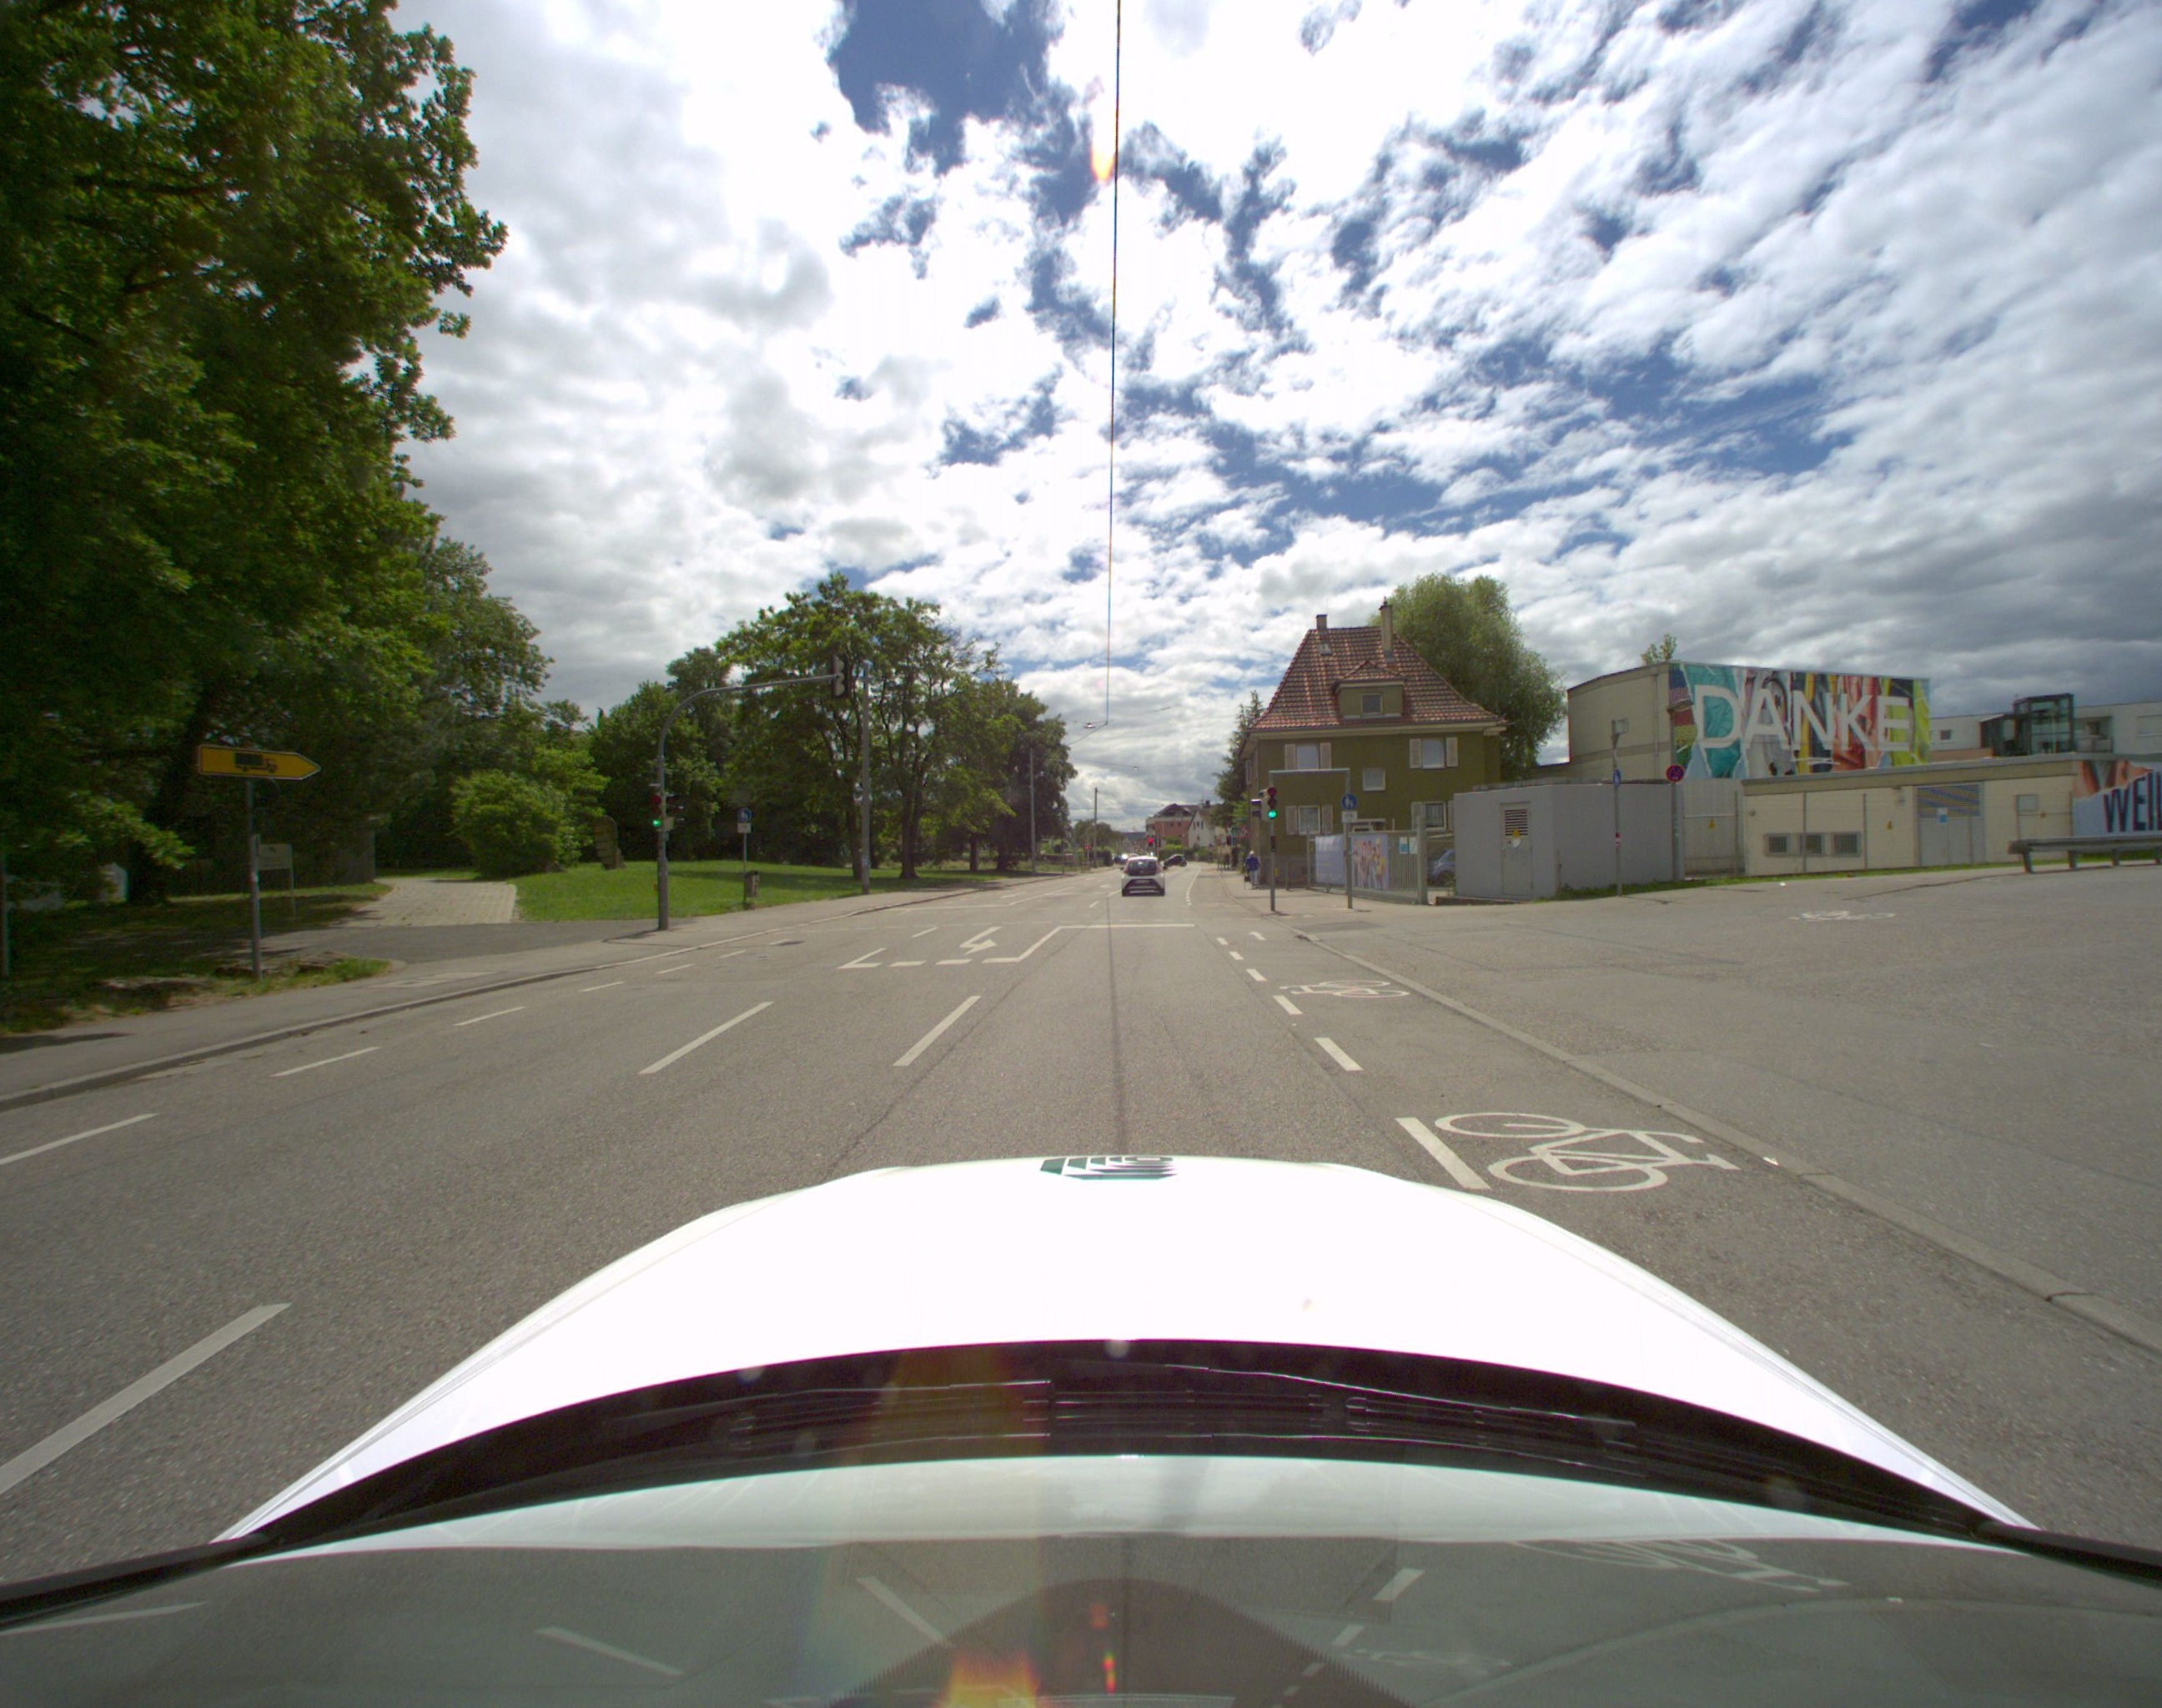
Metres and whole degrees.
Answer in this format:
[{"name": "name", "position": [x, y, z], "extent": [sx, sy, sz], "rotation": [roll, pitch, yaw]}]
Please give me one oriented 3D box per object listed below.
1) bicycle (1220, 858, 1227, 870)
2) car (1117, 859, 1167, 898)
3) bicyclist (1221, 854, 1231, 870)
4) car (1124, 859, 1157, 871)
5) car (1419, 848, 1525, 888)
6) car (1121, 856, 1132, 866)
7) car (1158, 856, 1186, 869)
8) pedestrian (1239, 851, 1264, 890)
[{"name": "bicycle", "position": [14.900, 1.076, 85.120], "extent": [0.455, 1.172, 1.481], "rotation": [-4, 1, 3]}, {"name": "car", "position": [2.444, 0.918, 31.781], "extent": [1.711, 1.442, 3.716], "rotation": [0, -1, 7]}, {"name": "bicyclist", "position": [15.139, 0.864, 85.053], "extent": [0.837, 1.553, 0.757], "rotation": [-4, 1, 3]}, {"name": "car", "position": [6.940, 1.257, 94.569], "extent": [1.886, 1.441, 4.125], "rotation": [-1, -1, 37]}, {"name": "car", "position": [15.678, 0.541, 32.746], "extent": [3.490, 1.494, 1.660], "rotation": [-1, 1, 2]}, {"name": "car", "position": [8.203, 1.212, 146.088], "extent": [1.985, 1.719, 4.003], "rotation": [0, -1, 3]}, {"name": "car", "position": [11.499, 1.086, 103.502], "extent": [3.340, 1.655, 1.727], "rotation": [0, -1, -2]}, {"name": "pedestrian", "position": [7.107, 0.689, 33.994], "extent": [0.820, 1.572, 0.989], "rotation": [-3, -1, 4]}]
